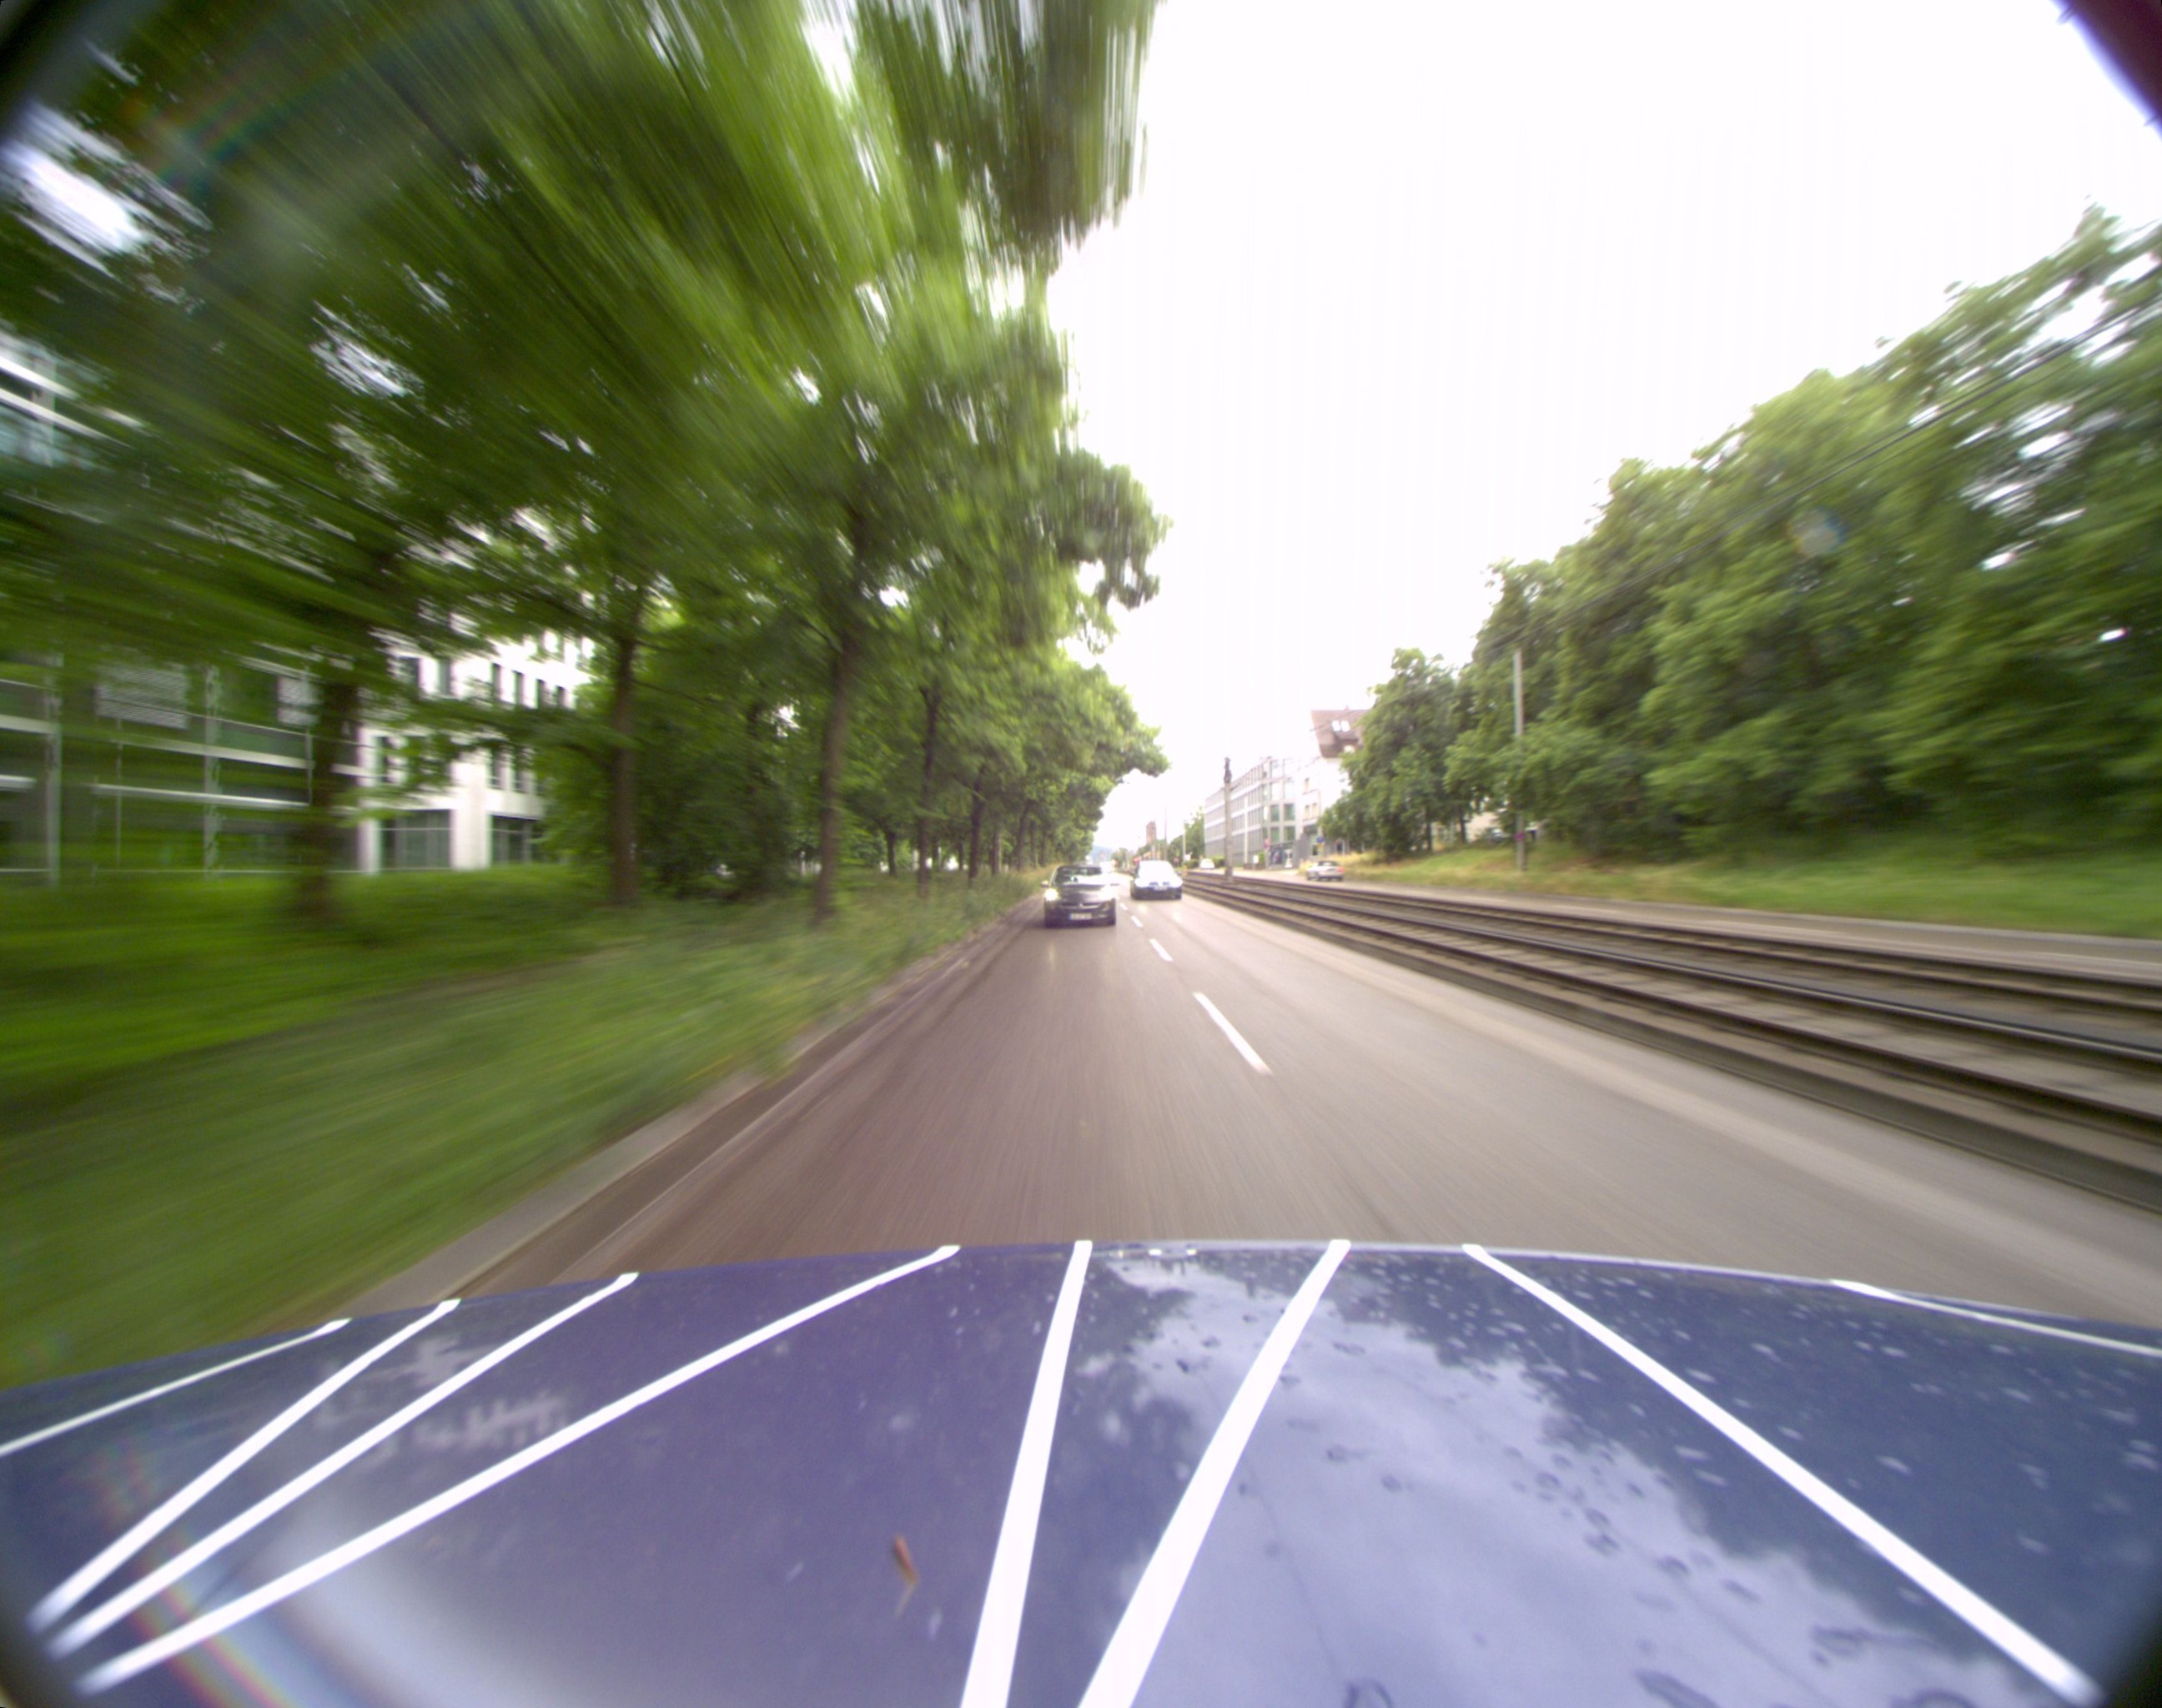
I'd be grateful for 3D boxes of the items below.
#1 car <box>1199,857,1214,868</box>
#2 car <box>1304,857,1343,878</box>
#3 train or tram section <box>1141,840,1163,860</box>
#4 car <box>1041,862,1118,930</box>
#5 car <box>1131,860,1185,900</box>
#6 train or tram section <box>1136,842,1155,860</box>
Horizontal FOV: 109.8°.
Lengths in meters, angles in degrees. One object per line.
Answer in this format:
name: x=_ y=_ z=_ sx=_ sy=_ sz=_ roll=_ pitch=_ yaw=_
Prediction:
car: x=19.387 y=1.299 z=117.621 sx=1.657 sy=1.520 sz=4.381 roll=-1 pitch=0 yaw=1
car: x=17.023 y=0.931 z=53.490 sx=1.480 sy=1.427 sz=3.909 roll=1 pitch=0 yaw=1
train or tram section: x=14.490 y=-0.721 z=156.887 sx=2.975 sy=3.788 sz=19.523 roll=-1 pitch=-1 yaw=1
car: x=0.030 y=0.979 z=19.517 sx=1.698 sy=1.439 sz=4.421 roll=-3 pitch=0 yaw=2
car: x=2.970 y=0.962 z=29.995 sx=1.770 sy=1.439 sz=3.833 roll=-1 pitch=0 yaw=1
train or tram section: x=14.828 y=-0.534 z=176.201 sx=2.975 sy=3.788 sz=19.100 roll=-1 pitch=-1 yaw=1
